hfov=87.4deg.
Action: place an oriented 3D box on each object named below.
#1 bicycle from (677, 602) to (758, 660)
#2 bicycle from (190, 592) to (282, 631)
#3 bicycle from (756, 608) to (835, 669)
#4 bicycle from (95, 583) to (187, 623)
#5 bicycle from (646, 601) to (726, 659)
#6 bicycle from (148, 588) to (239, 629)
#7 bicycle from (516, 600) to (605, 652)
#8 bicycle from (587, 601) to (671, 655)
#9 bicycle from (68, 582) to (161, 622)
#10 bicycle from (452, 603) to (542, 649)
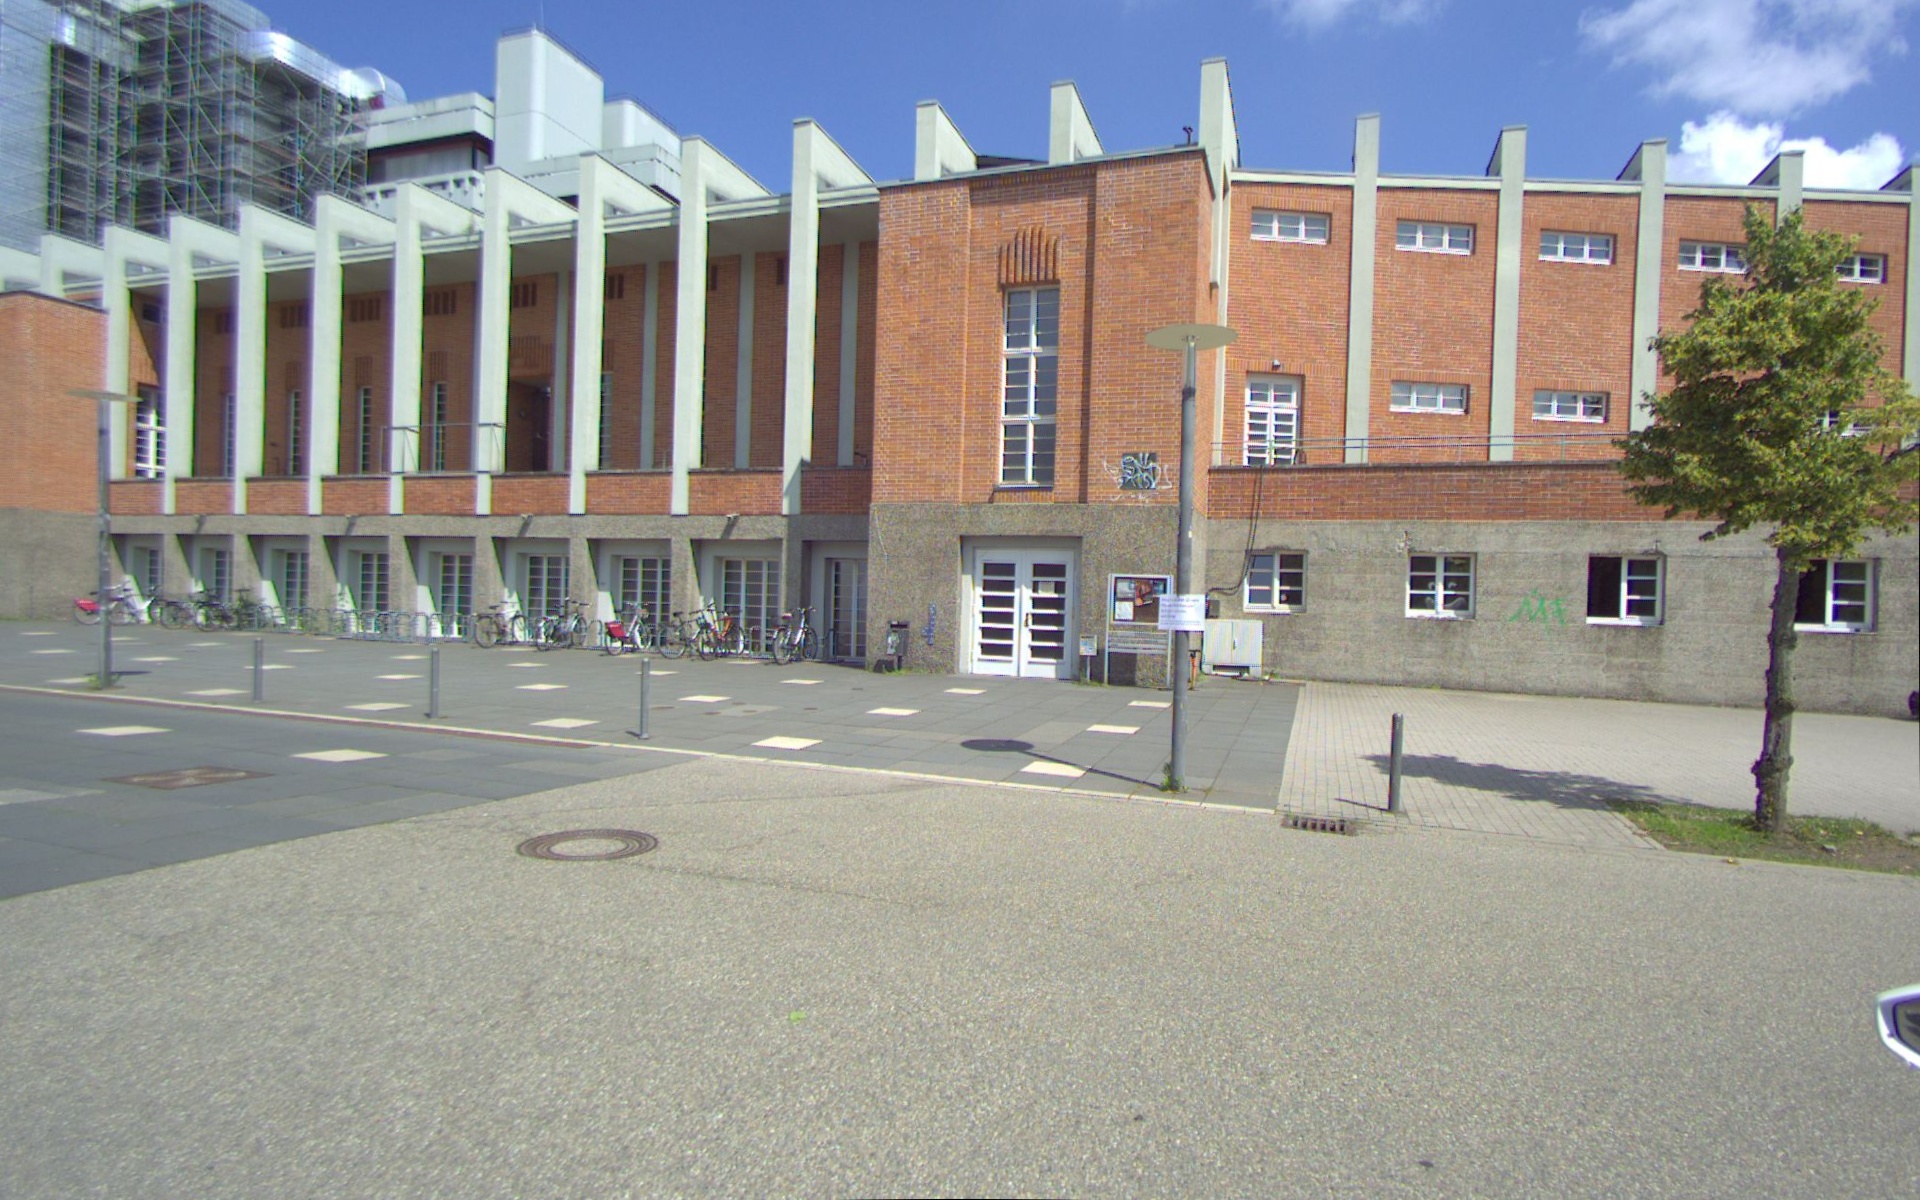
[{"bbox_3d":[-5.018,0.629,20.938,0.581,1.140,2.028,2,0,21],"label":"bicycle"},{"bbox_3d":[-18.786,0.294,26.111,0.557,0.953,1.957,2,0,19],"label":"bicycle"},{"bbox_3d":[-3.289,0.752,20.280,0.654,1.140,2.028,2,0,19],"label":"bicycle"},{"bbox_3d":[-22.366,0.100,27.465,0.508,1.044,1.957,2,0,19],"label":"bicycle"},{"bbox_3d":[-5.760,0.601,21.233,0.430,1.141,2.027,2,1,24],"label":"bicycle"},{"bbox_3d":[-20.236,0.232,26.566,0.519,1.044,1.957,2,0,19],"label":"bicycle"},{"bbox_3d":[-8.820,0.568,22.265,0.650,1.075,2.028,2,0,19],"label":"bicycle"},{"bbox_3d":[-7.146,0.591,21.783,0.609,1.096,2.016,2,0,19],"label":"bicycle"},{"bbox_3d":[-23.284,0.060,27.717,0.531,1.044,1.957,2,0,19],"label":"bicycle"},{"bbox_3d":[-10.461,0.567,22.754,0.671,0.973,1.957,2,0,19],"label":"bicycle"}]
